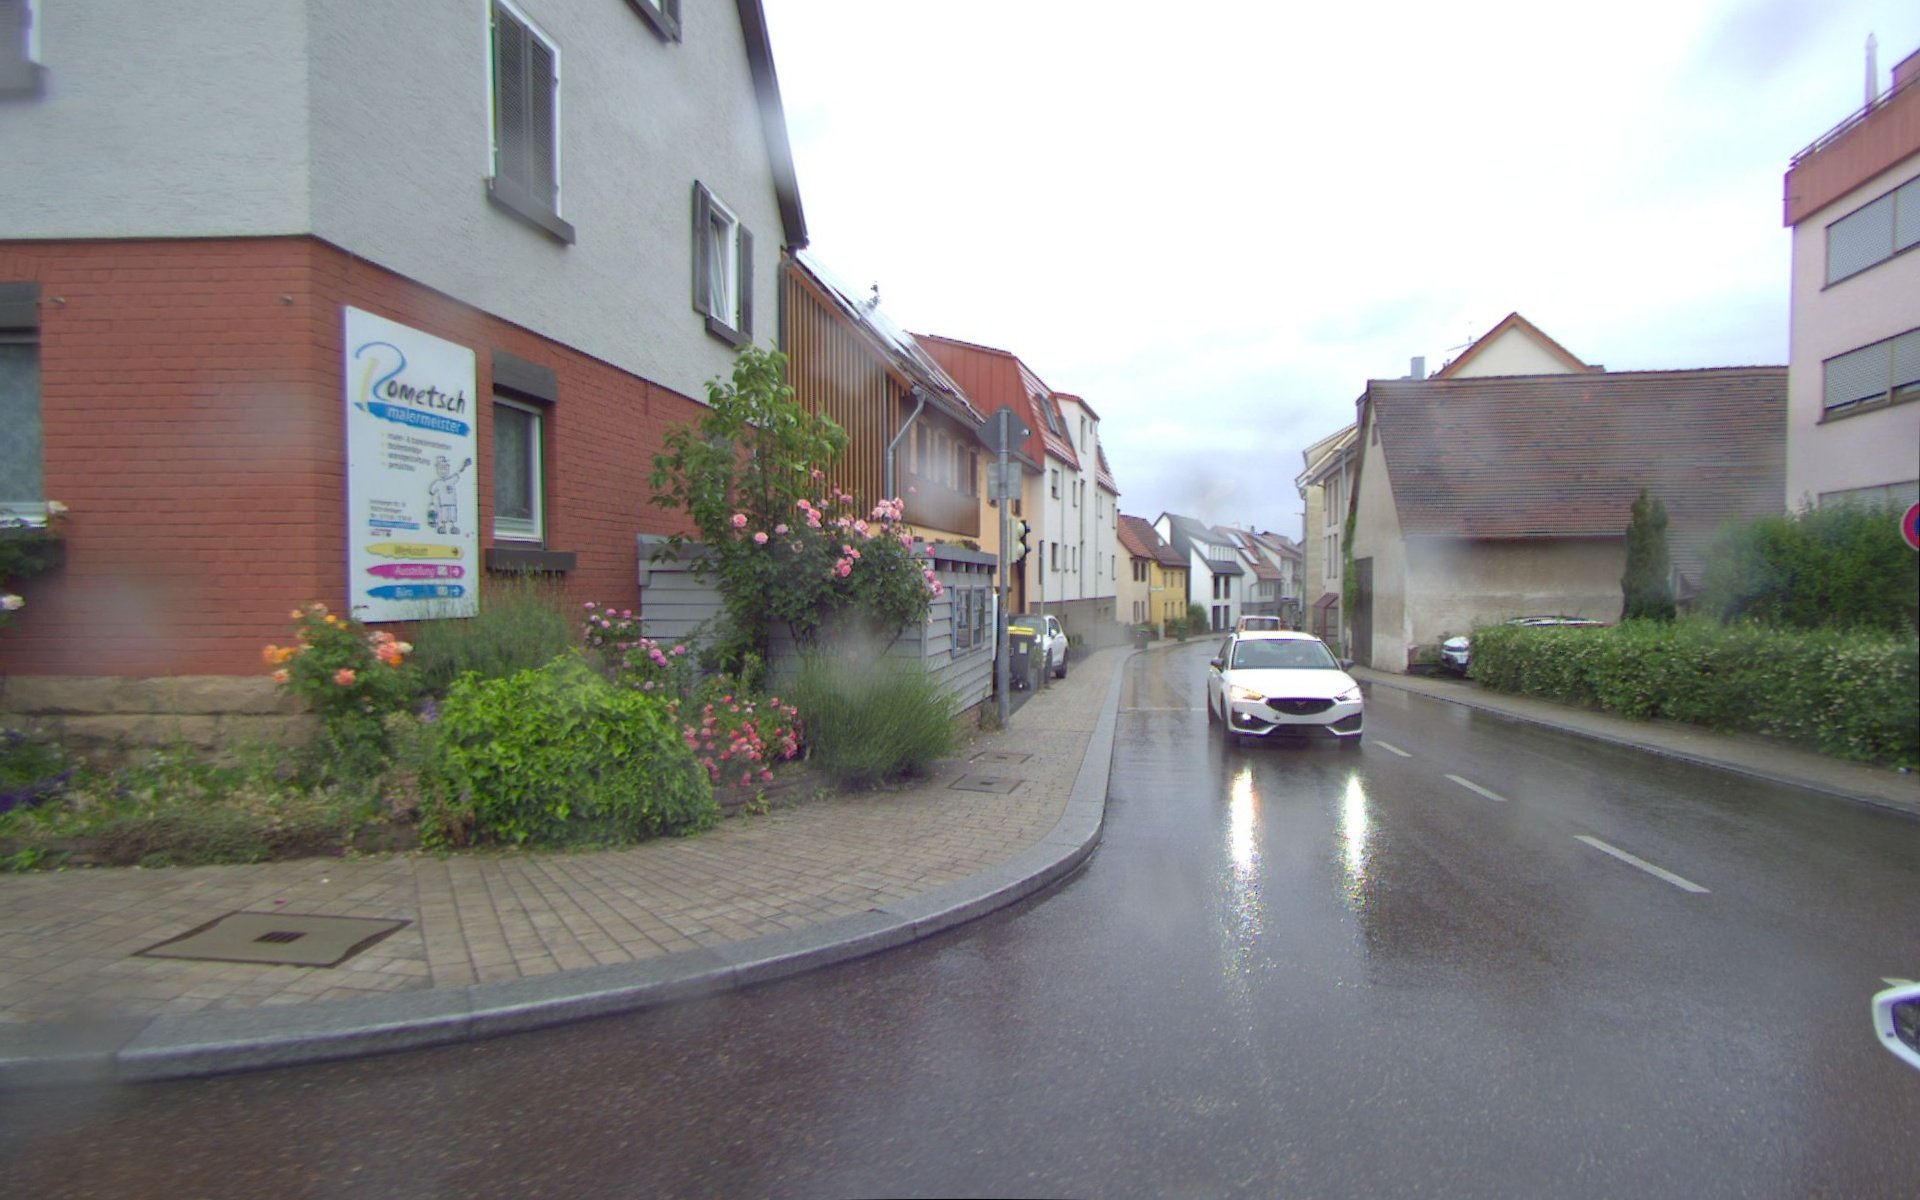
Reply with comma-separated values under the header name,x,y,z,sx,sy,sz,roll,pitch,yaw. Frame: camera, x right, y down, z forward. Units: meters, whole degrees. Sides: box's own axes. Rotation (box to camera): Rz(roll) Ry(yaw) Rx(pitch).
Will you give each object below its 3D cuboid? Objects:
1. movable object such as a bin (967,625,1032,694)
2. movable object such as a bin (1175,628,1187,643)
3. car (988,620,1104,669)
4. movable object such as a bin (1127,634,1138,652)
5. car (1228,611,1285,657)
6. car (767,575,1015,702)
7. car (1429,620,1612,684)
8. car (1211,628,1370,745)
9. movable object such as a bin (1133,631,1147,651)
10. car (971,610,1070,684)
name,x,y,z,sx,sy,sz,roll,pitch,yaw
movable object such as a bin,0.842,1.244,21.253,1.263,1.386,0.997,1,-1,7
movable object such as a bin,16.082,2.584,73.087,0.649,1.070,0.763,3,0,20
car,3.111,1.568,36.014,3.919,1.692,1.879,0,-1,14
movable object such as a bin,9.568,2.372,55.705,0.497,0.935,0.579,2,0,16
car,12.767,1.455,43.490,2.157,1.876,4.307,0,-1,14
car,-1.246,0.684,19.392,4.434,2.005,2.000,4,1,2
car,15.708,1.422,28.372,4.145,1.671,1.904,1,-1,12
car,4.587,1.148,14.471,1.559,1.427,4.213,-1,-2,10
movable object such as a bin,10.105,2.293,56.365,0.670,1.080,0.695,2,0,18
car,1.675,1.163,26.304,1.783,1.728,4.619,1,-1,14
